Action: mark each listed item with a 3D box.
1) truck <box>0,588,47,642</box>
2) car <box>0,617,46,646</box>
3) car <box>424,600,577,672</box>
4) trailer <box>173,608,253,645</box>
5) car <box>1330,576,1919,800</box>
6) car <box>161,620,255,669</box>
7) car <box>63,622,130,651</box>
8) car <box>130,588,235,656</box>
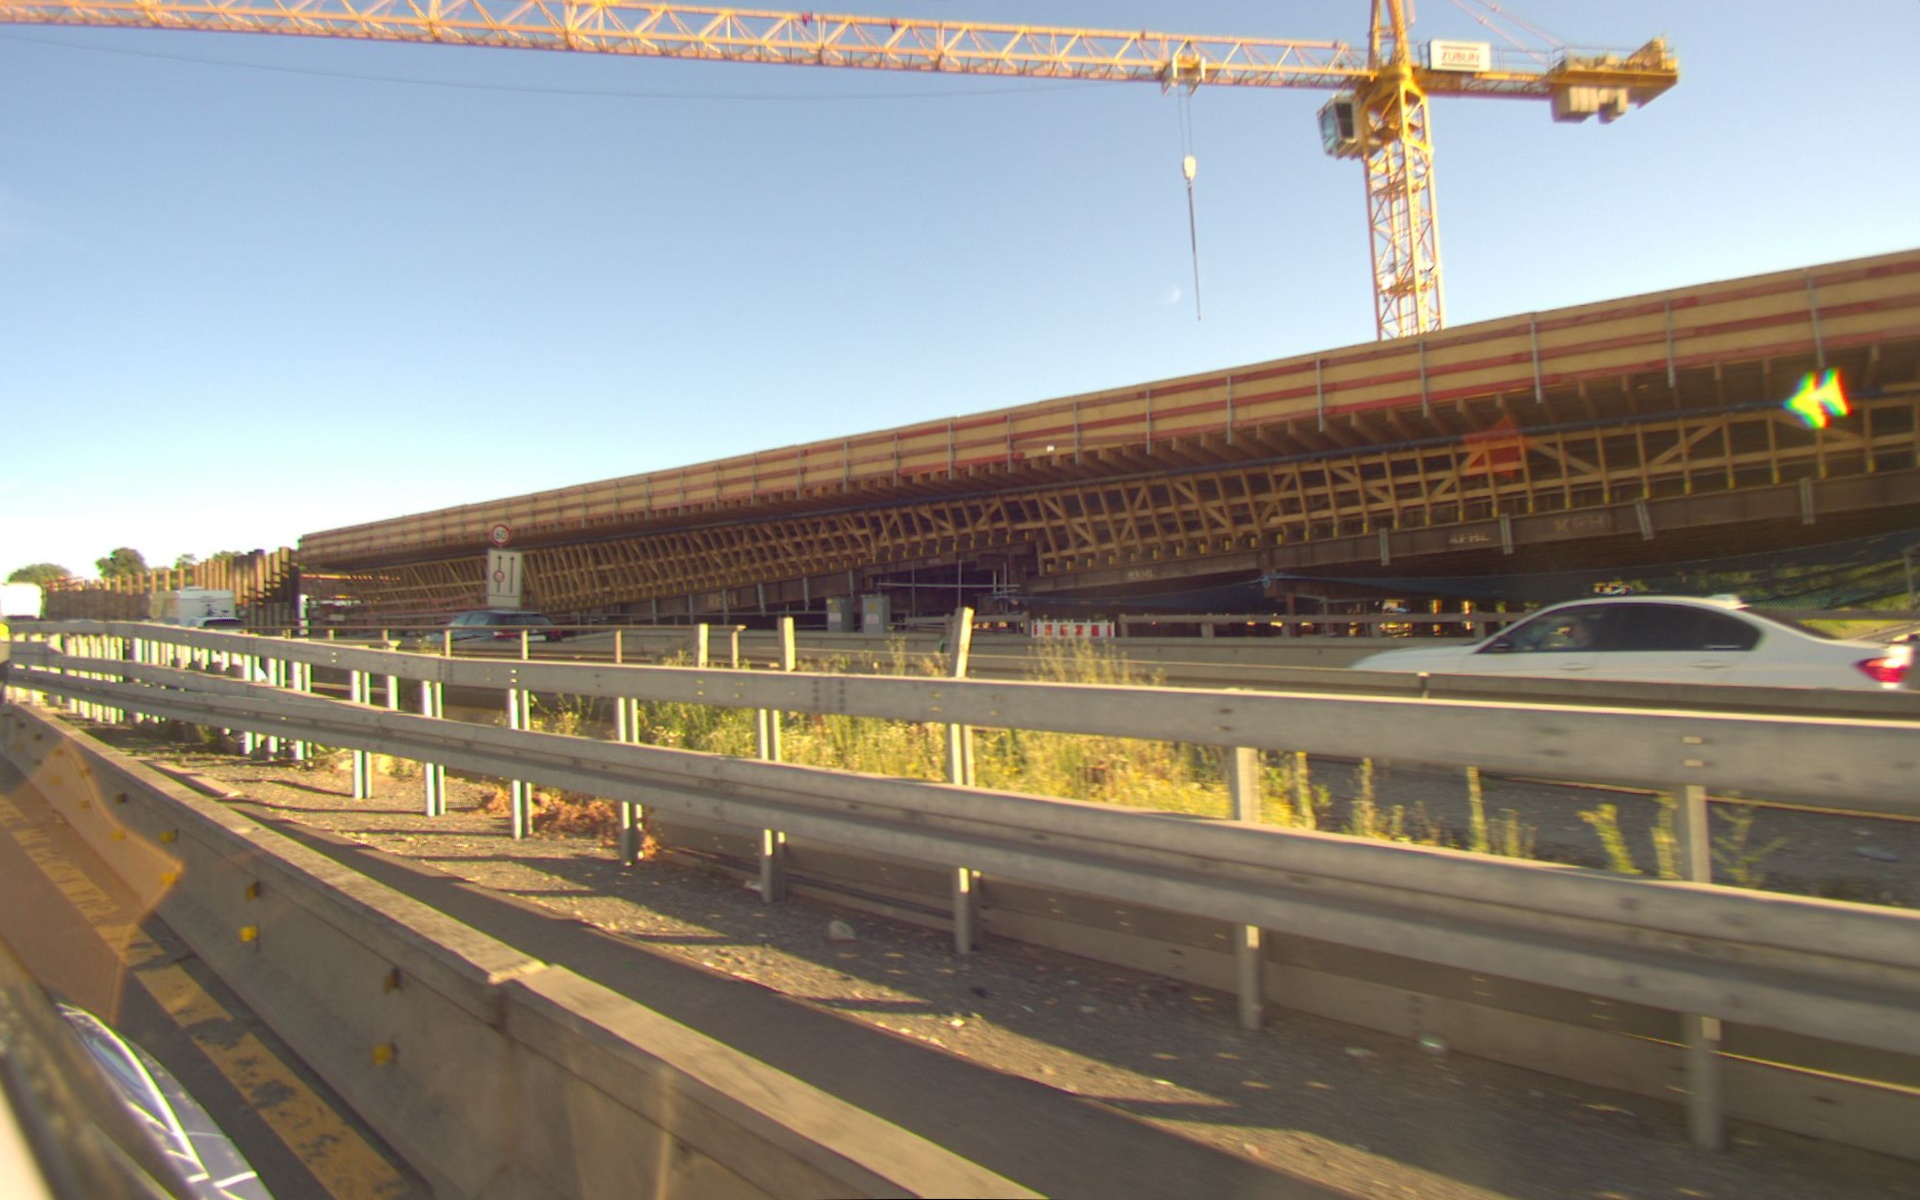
[{"bbox_3d":[-69.053,1.120,73.568,7.154,3.753,2.762,-1,0,39],"label":"truck"},{"bbox_3d":[-53.605,1.787,57.518,4.104,1.531,1.601,-1,0,36],"label":"car"},{"bbox_3d":[-10.776,0.797,23.599,3.998,1.400,1.645,-1,4,41],"label":"car"},{"bbox_3d":[-33.137,1.163,44.897,2.141,1.524,2.301,-1,0,36],"label":"trailer"},{"bbox_3d":[6.030,0.650,9.269,4.661,1.613,1.711,-1,0,43],"label":"car"},{"bbox_3d":[-27.041,1.552,36.340,4.108,1.613,1.713,-1,0,39],"label":"car"},{"bbox_3d":[-41.473,1.715,48.591,4.108,1.287,1.713,-1,0,39],"label":"car"},{"bbox_3d":[-36.450,1.004,47.403,6.152,2.989,2.307,-1,0,37],"label":"car"}]
